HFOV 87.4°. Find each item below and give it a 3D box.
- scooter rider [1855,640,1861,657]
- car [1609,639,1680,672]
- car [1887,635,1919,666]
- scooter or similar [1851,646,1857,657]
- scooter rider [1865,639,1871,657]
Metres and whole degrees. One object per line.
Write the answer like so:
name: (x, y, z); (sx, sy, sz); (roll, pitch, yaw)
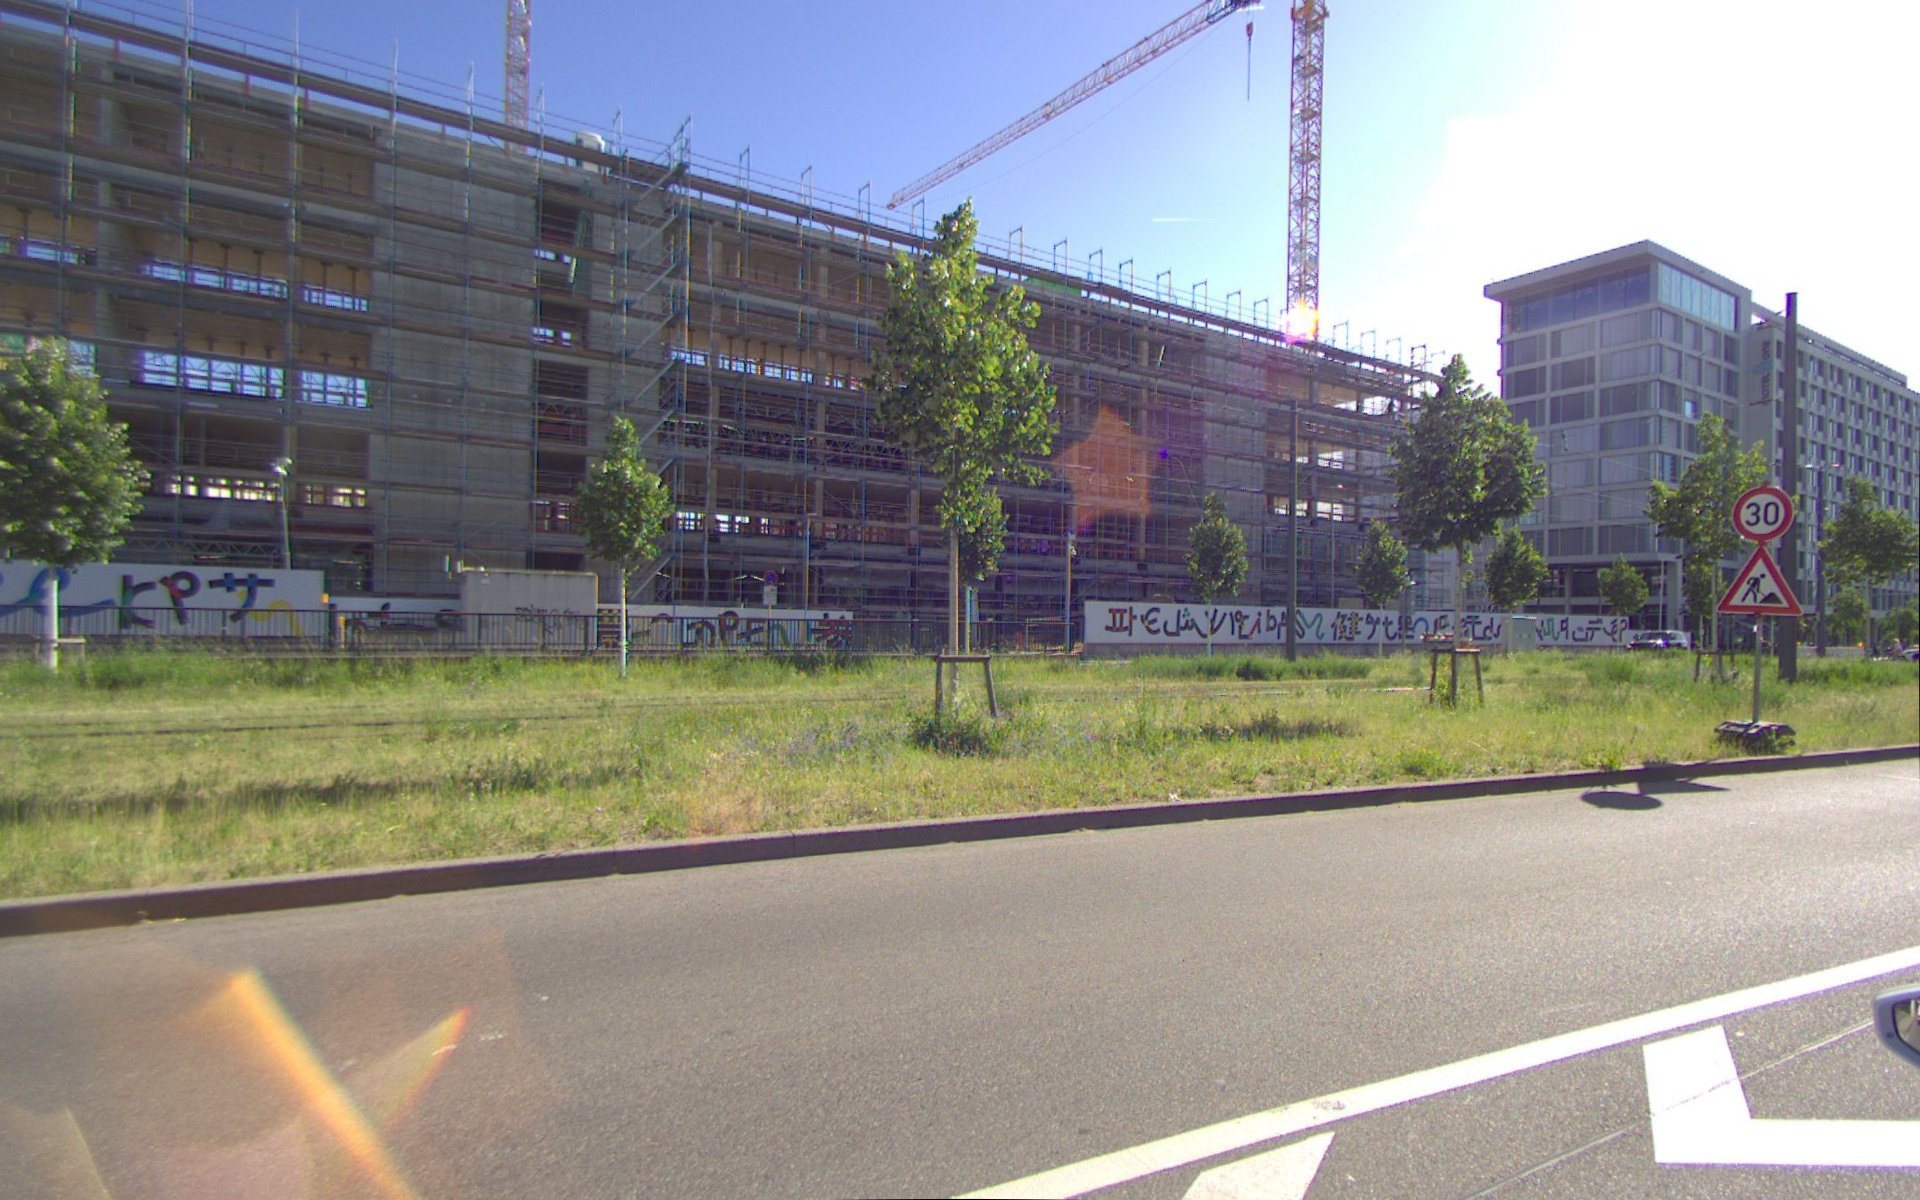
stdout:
scooter rider: (78.087, 4.185, 87.314); (0.237, 1.472, 0.340); (2, -1, -32)
car: (42.724, 3.460, 62.676); (4.274, 1.943, 1.901); (2, -1, -28)
car: (62.999, 3.293, 65.094); (3.913, 1.943, 1.912); (1, -1, 29)
scooter or similar: (77.875, 4.451, 87.483); (0.761, 0.960, 0.283); (2, -2, -41)
scooter rider: (78.266, 4.145, 86.564); (0.237, 1.472, 0.340); (2, -1, -32)
